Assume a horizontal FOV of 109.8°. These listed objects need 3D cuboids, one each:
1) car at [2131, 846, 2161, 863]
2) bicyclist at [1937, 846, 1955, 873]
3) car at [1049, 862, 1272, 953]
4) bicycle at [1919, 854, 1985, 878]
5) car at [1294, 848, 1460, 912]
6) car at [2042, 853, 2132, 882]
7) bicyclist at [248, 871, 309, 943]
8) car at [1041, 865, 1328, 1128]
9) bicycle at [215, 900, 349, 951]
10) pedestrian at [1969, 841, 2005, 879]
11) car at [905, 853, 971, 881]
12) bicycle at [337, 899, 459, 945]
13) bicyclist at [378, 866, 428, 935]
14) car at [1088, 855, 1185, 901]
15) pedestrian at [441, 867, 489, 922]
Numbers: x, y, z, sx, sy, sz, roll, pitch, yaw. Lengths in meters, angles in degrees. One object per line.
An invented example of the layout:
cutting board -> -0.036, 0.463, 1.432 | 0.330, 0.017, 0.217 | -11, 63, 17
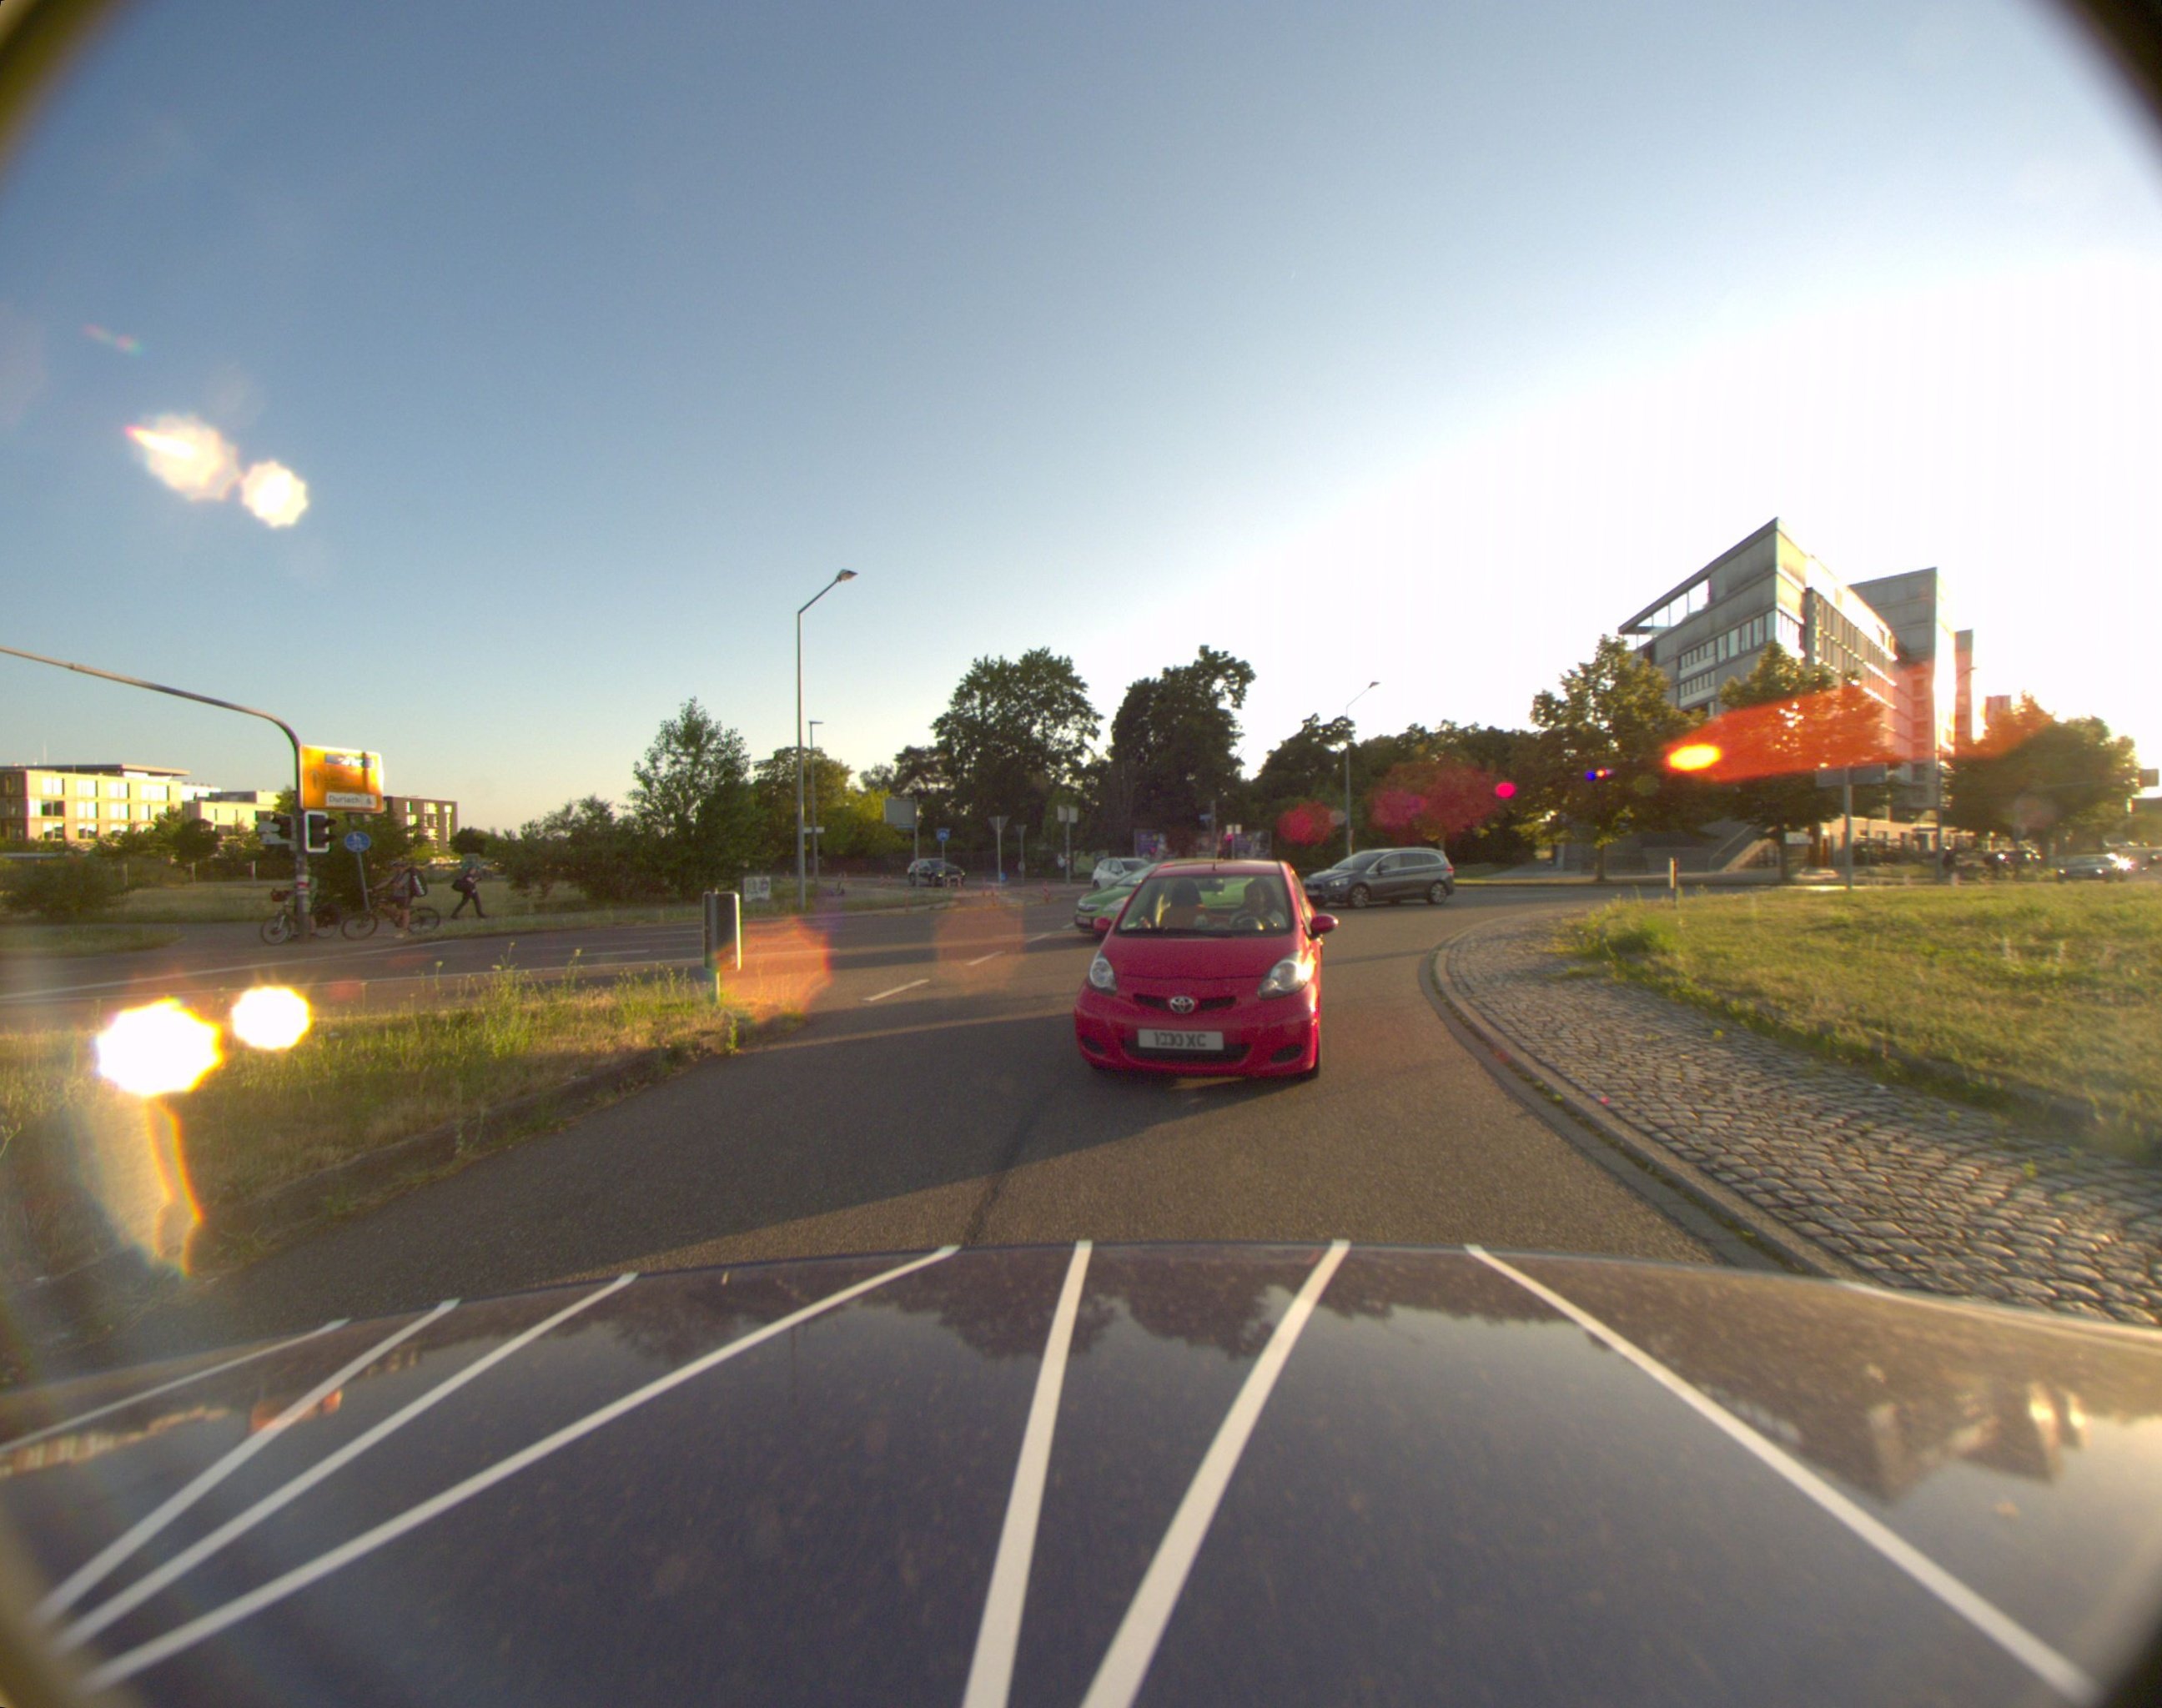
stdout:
car -> 99.434, 0.020, 70.570 | 4.008, 1.444, 1.994 | -1, 1, -39
bicyclist -> 46.978, 0.305, 41.268 | 0.693, 1.432, 0.610 | -2, 1, -42
car -> 1.562, 0.912, 14.441 | 4.006, 1.412, 1.685 | -1, 1, -32
bicycle -> 47.090, 0.625, 41.126 | 0.744, 1.237, 2.341 | -2, 1, -41
car -> 8.230, 0.670, 21.113 | 4.334, 1.568, 1.730 | -1, 1, -23
car -> 50.717, 0.645, 38.297 | 4.130, 1.371, 1.748 | -1, 1, -23
bicyclist -> -19.326, 1.252, 18.312 | 0.724, 1.680, 0.690 | -1, 1, 12
car -> 1.196, 0.853, 6.504 | 1.686, 1.412, 4.005 | -1, 0, 19
bicycle -> -19.268, 1.693, 18.400 | 0.708, 0.958, 2.109 | -1, 2, 14
pedestrian -> 49.080, 0.313, 41.182 | 0.776, 2.002, 0.998 | -2, 1, -11
car -> -8.495, 0.750, 45.009 | 2.004, 1.588, 4.302 | -1, 1, -39
bicycle -> -17.157, 1.674, 19.160 | 0.708, 0.957, 2.149 | -1, 0, 26
bicyclist -> -17.141, 1.160, 19.220 | 0.723, 1.680, 0.690 | -1, 1, 28
car -> 2.026, 0.846, 29.134 | 2.002, 1.597, 4.190 | -1, 0, -22
pedestrian -> -18.746, 1.205, 23.148 | 0.993, 1.581, 0.924 | -1, 1, -33
